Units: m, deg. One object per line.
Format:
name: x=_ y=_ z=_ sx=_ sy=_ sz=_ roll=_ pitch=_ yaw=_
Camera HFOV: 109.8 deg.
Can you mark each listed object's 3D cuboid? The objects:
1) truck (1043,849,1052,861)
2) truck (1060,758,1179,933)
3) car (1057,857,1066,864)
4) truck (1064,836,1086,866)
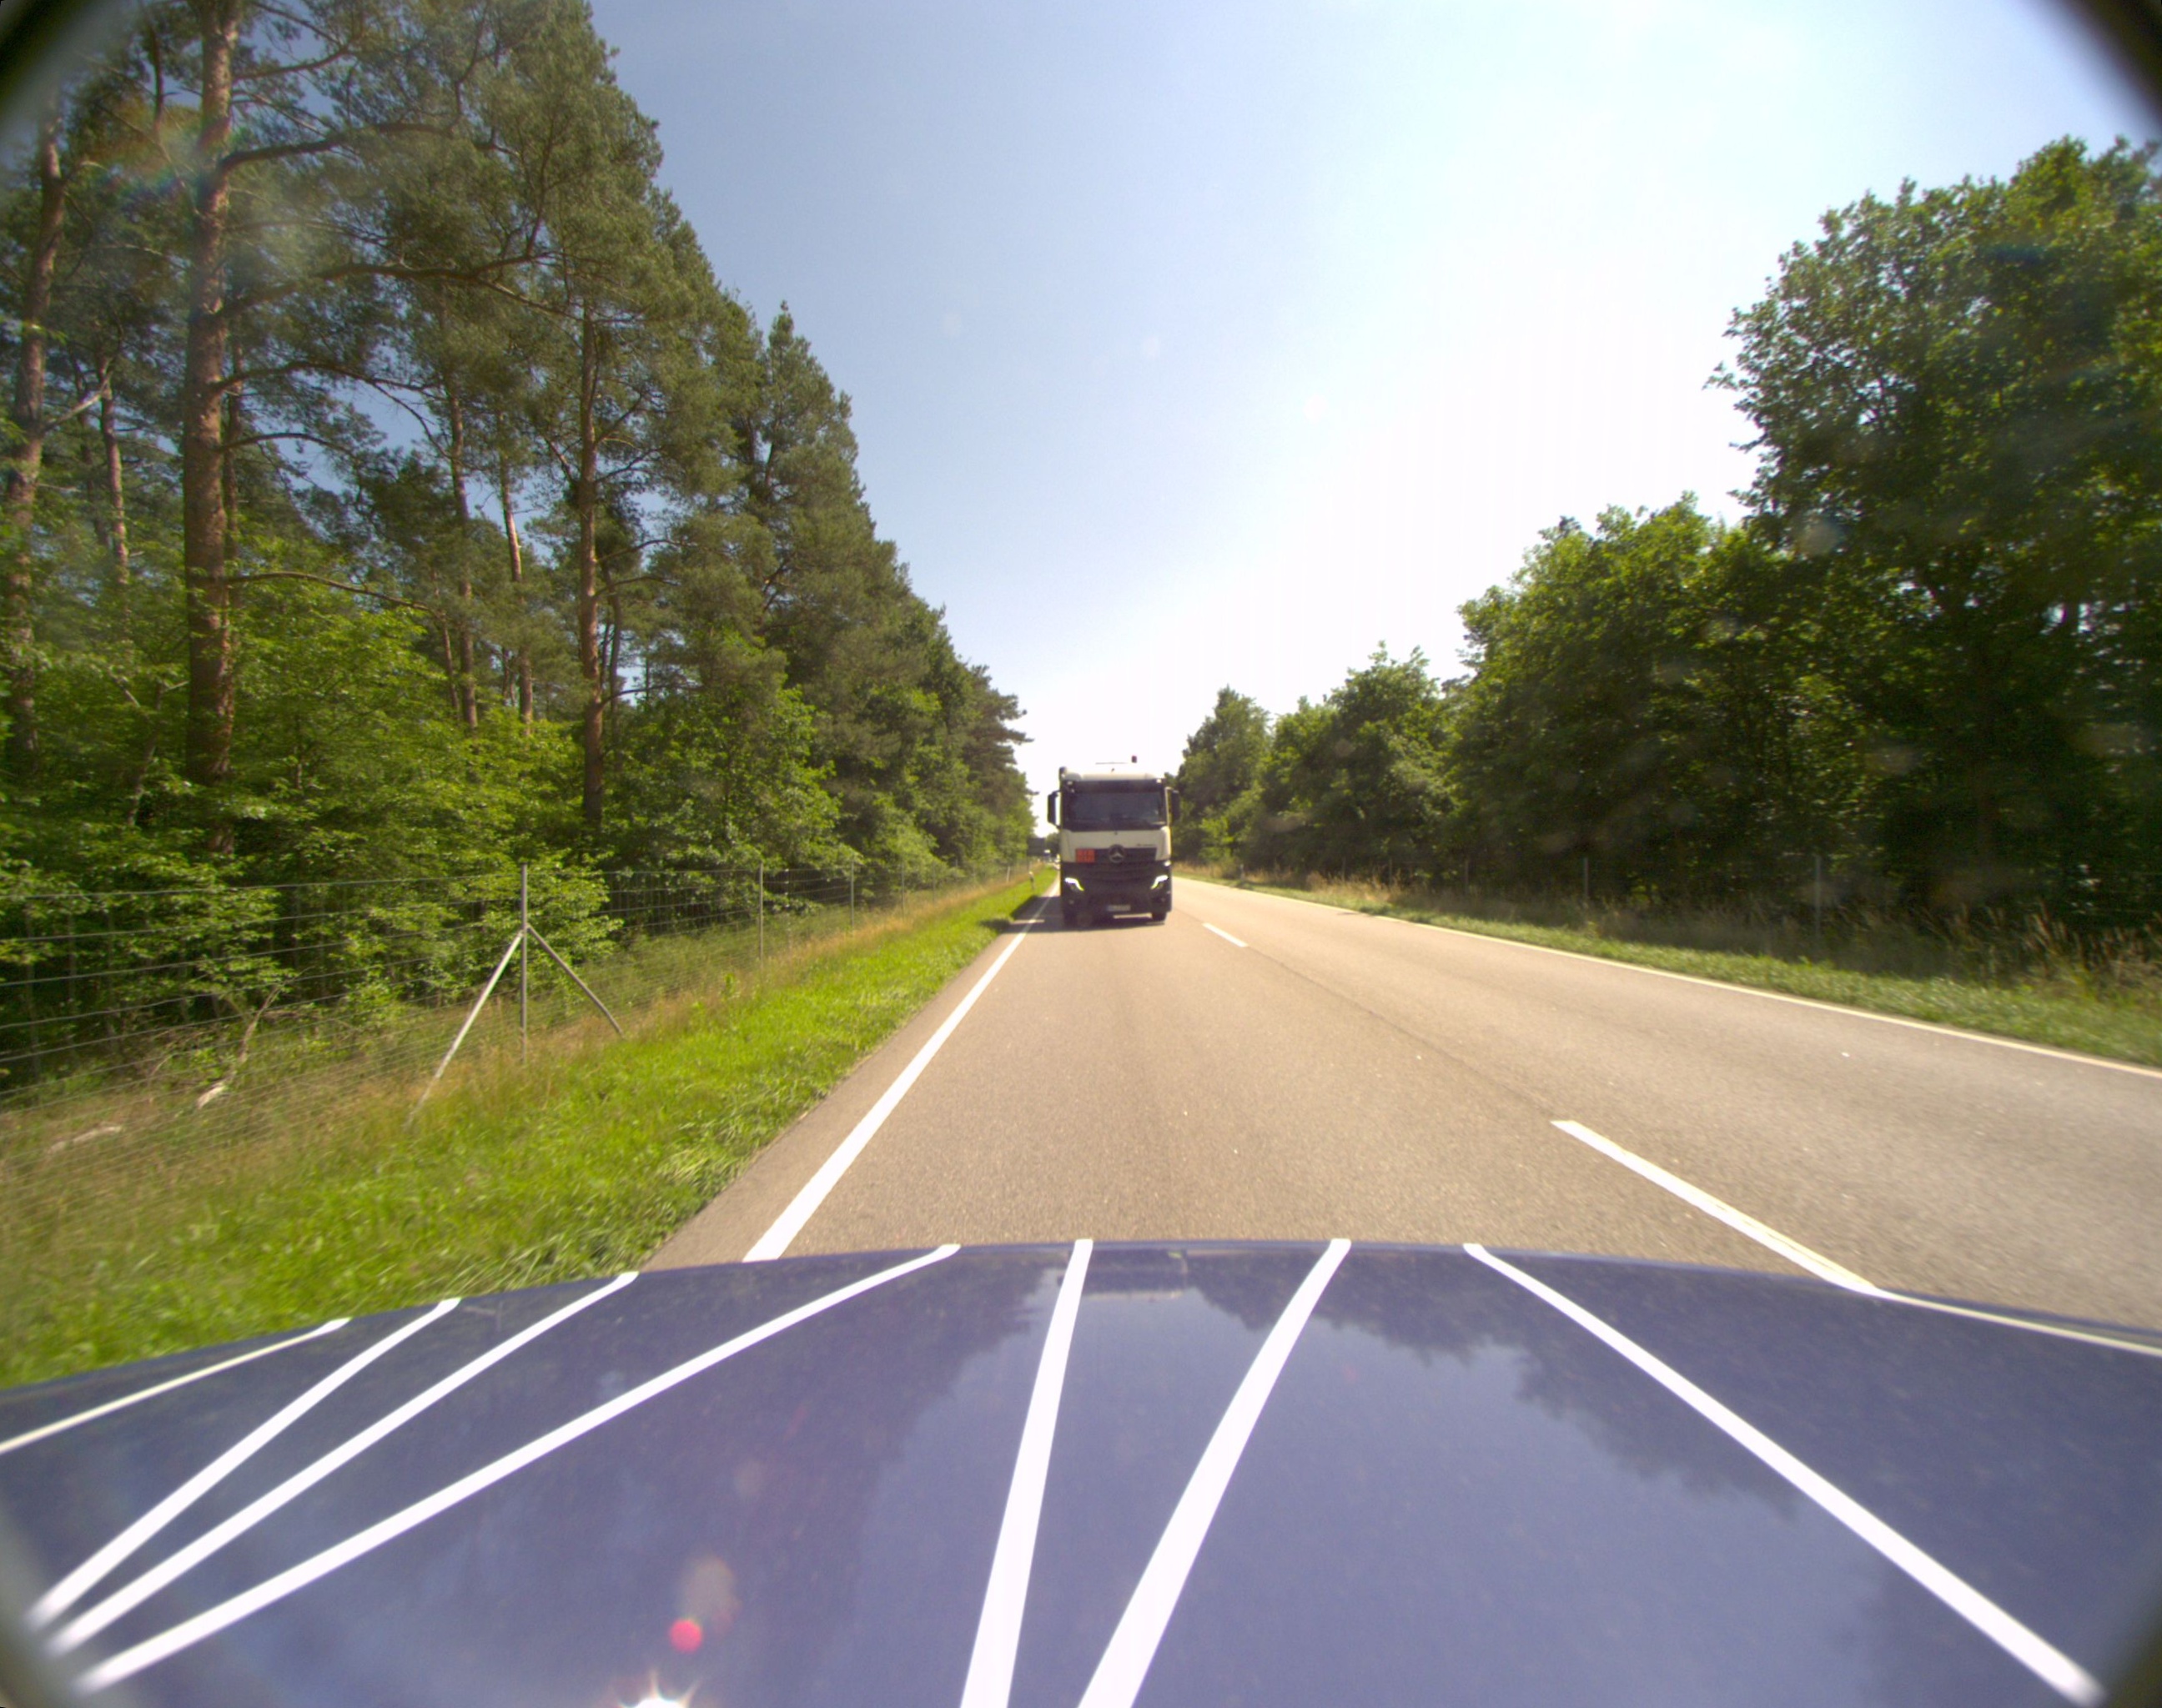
truck: x=-10.846 y=0.293 z=248.039 sx=2.495 sy=3.619 sz=6.100 roll=-1 pitch=0 yaw=-6
truck: x=0.747 y=-0.169 z=19.543 sx=2.435 sy=3.672 sz=6.456 roll=-2 pitch=0 yaw=-2
car: x=-4.216 y=1.443 z=167.032 sx=1.885 sy=1.461 sz=3.999 roll=-1 pitch=0 yaw=-2
truck: x=-0.667 y=-0.316 z=96.731 sx=2.494 sy=3.618 sz=6.104 roll=-2 pitch=0 yaw=1
